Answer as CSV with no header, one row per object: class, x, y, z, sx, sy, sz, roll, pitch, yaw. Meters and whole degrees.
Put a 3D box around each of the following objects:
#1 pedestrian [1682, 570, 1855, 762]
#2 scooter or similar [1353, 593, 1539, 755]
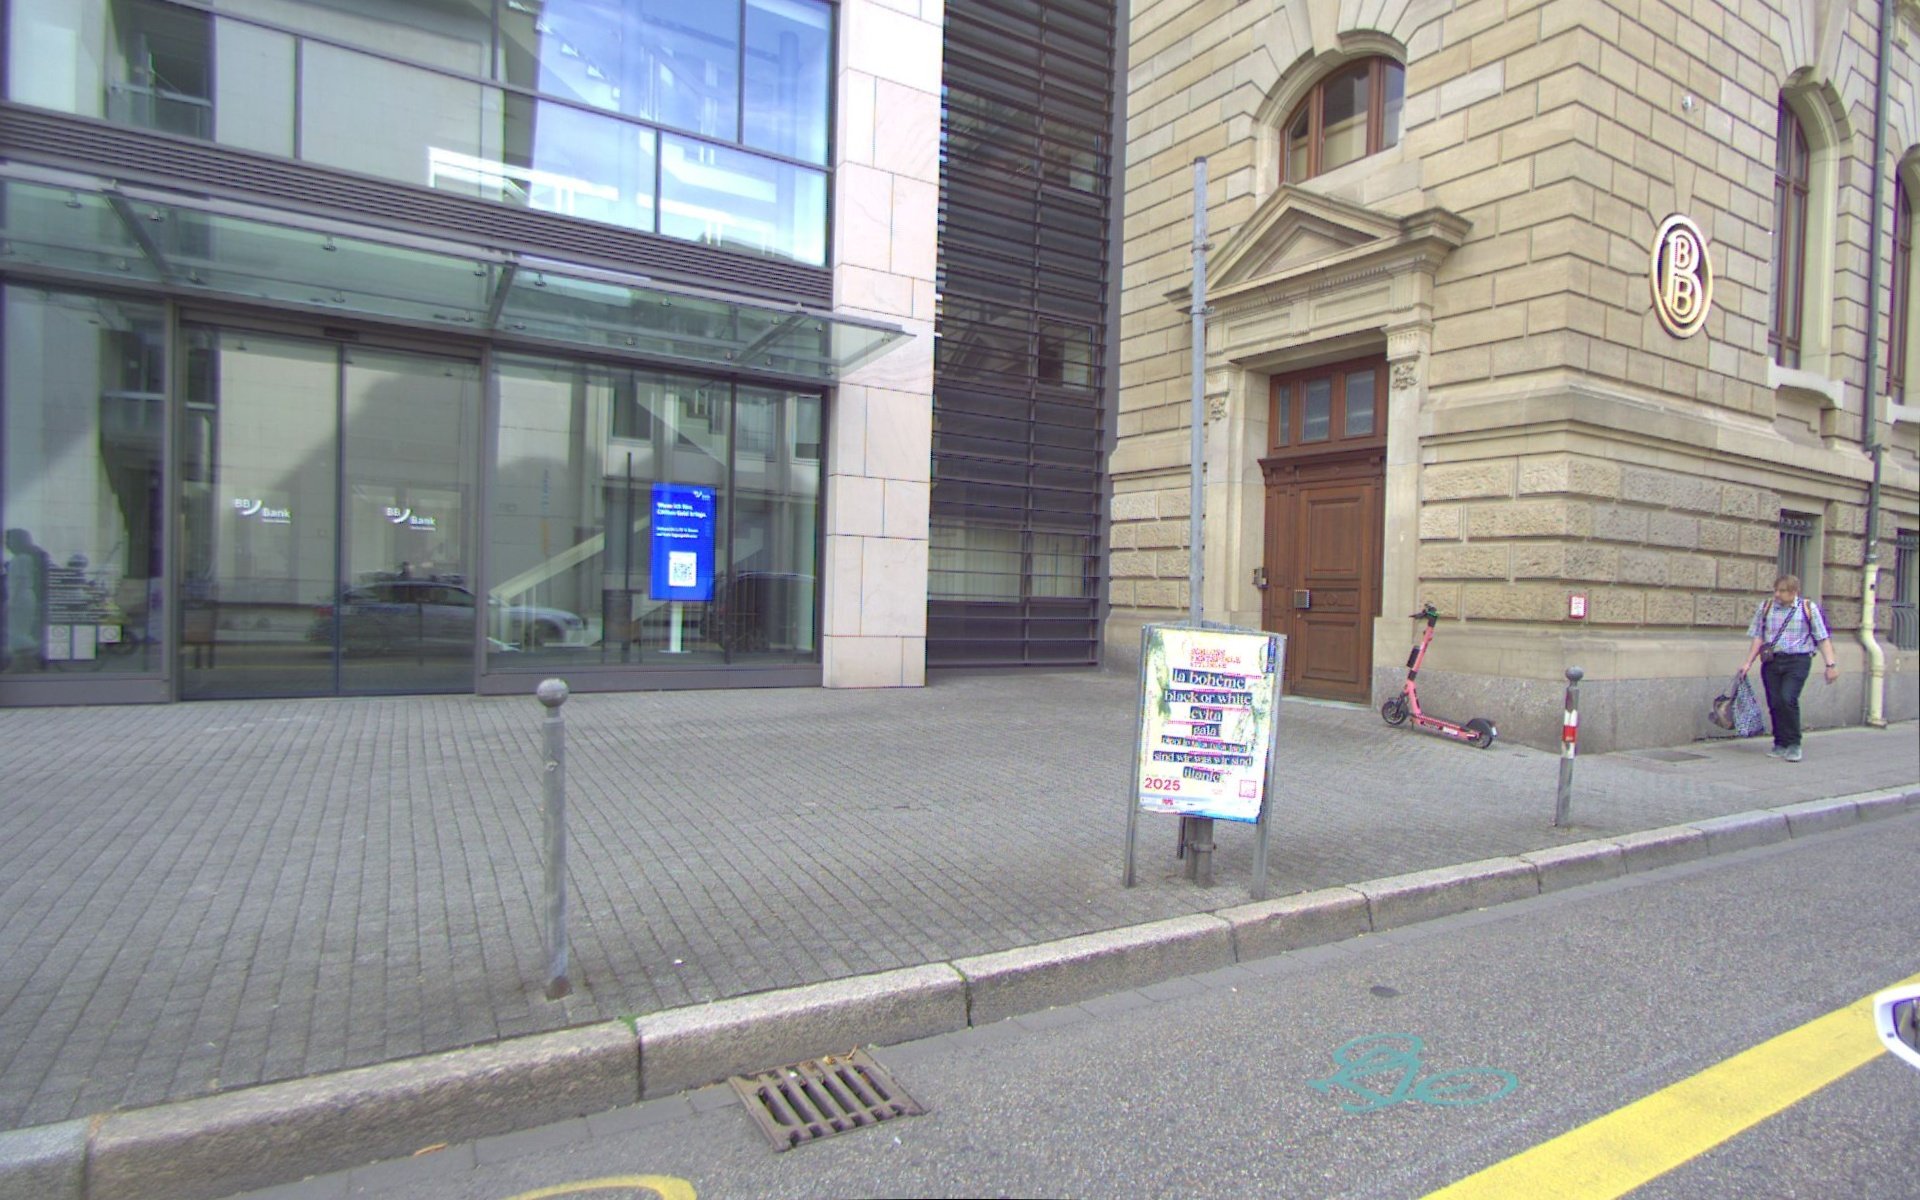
pedestrian,7.938,0.609,9.891,0.809,1.743,1.021,2,2,-30
scooter or similar,4.552,0.640,9.506,0.580,1.328,1.439,0,4,-30
